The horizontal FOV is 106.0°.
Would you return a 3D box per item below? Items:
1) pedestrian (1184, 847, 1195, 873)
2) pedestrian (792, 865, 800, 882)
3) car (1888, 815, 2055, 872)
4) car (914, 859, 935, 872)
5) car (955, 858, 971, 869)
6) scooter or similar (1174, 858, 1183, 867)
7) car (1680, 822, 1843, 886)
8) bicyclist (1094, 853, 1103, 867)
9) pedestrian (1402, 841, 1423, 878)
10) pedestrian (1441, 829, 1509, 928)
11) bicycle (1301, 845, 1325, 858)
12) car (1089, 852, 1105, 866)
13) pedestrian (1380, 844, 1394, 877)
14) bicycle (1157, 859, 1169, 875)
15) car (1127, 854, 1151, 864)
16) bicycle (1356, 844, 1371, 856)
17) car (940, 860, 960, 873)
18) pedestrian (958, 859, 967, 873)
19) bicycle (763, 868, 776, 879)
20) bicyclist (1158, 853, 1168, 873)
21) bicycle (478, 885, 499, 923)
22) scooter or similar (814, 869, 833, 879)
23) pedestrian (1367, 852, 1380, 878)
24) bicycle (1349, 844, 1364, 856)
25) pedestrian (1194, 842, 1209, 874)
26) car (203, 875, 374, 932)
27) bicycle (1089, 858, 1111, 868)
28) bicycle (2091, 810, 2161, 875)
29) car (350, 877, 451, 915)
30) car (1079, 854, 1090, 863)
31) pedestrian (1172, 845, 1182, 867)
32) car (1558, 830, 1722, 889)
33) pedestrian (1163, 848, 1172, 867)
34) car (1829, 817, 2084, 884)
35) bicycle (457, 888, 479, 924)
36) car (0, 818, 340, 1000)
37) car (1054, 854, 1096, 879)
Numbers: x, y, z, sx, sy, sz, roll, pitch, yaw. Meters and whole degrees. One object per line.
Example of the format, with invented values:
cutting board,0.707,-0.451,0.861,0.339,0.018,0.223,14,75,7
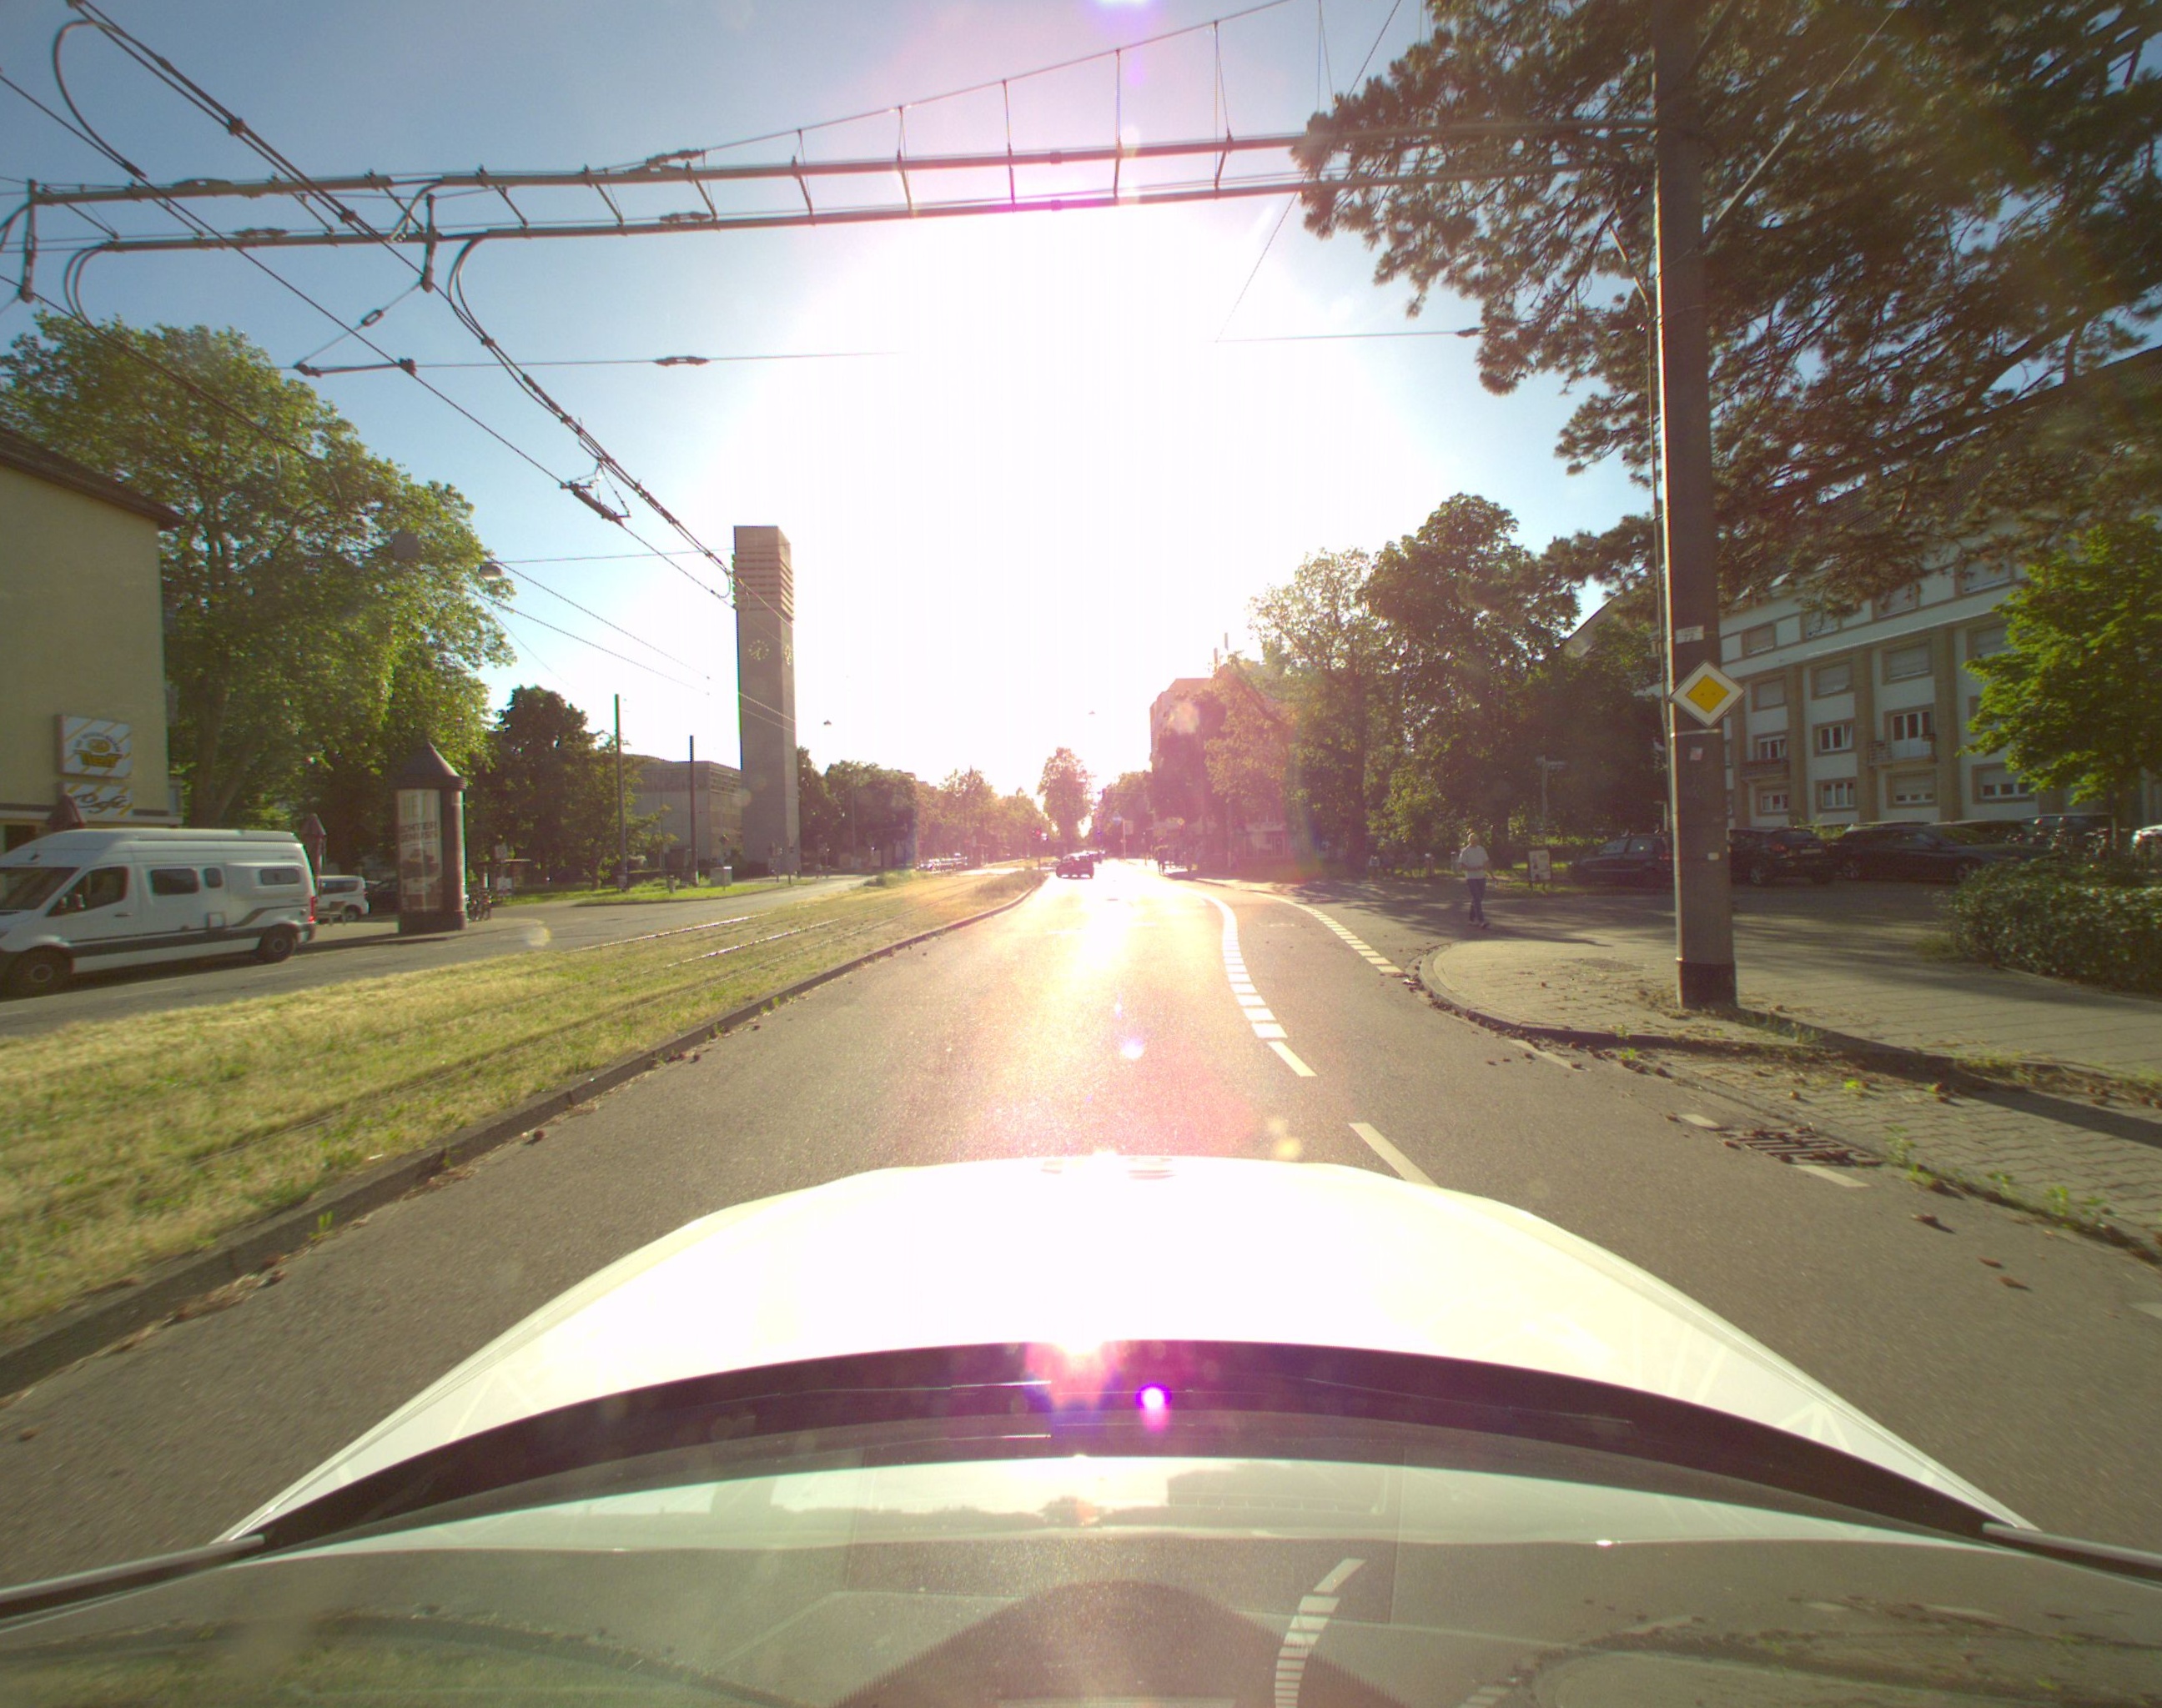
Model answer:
pedestrian,6.377,0.359,47.924,0.527,1.528,0.628,-4,0,5
pedestrian,-28.600,1.980,81.769,0.440,1.666,0.748,0,0,9
car,27.321,-0.322,25.065,3.336,1.370,1.576,-6,0,0
car,-19.110,1.379,99.592,1.801,1.533,4.360,-2,0,0
car,-16.110,1.243,111.557,1.561,1.402,3.914,0,0,0
scooter or similar,7.665,0.664,63.982,0.596,0.737,0.681,0,0,-1
car,18.742,-0.016,22.673,1.446,1.572,3.812,-3,0,3
bicyclist,1.978,0.634,90.940,0.762,1.471,0.902,-3,1,16
pedestrian,12.315,0.205,30.250,0.678,1.373,0.759,0,0,26
pedestrian,7.197,0.433,14.912,0.876,1.722,0.726,-2,0,5
bicycle,25.777,-0.278,90.532,2.463,1.399,0.608,0,0,-2
car,2.144,0.724,111.698,1.963,1.860,3.997,0,0,-2
pedestrian,11.492,0.236,30.555,0.399,1.226,0.765,0,0,26
bicycle,5.394,0.841,53.546,0.645,0.972,1.804,0,0,2
car,10.159,0.870,142.345,3.964,1.860,2.016,0,0,8
bicycle,24.229,-0.320,69.824,0.595,1.034,1.990,0,0,-1
car,-16.034,1.525,99.957,1.682,1.533,4.360,-2,0,0
pedestrian,-13.443,1.372,92.240,0.888,1.606,0.613,0,0,-1
bicycle,-32.633,2.052,85.316,0.488,1.045,1.686,0,0,7
bicyclist,5.388,0.568,53.538,0.635,1.323,0.803,0,0,2
bicycle,-20.549,1.708,28.259,0.522,1.252,2.068,0,-1,-34
scooter or similar,-26.128,2.005,82.594,1.738,0.899,0.560,-2,0,-17
pedestrian,11.029,0.415,30.722,0.399,0.934,0.627,0,2,26
bicycle,23.574,-0.314,69.786,0.595,1.034,2.006,0,0,-1
pedestrian,7.031,0.247,47.652,0.700,1.789,0.695,-4,1,5
car,-28.823,1.738,29.822,1.979,1.827,4.015,0,0,14
bicycle,2.120,0.957,90.915,2.235,0.987,0.792,-1,5,14
bicycle,24.981,-0.256,19.155,0.745,1.458,2.351,0,0,30
car,-32.256,2.004,38.641,3.955,1.601,1.758,-2,1,18
car,0.651,0.817,149.558,1.889,1.611,4.497,0,0,-2
pedestrian,7.581,0.169,64.564,0.725,1.682,0.534,0,0,12
car,15.976,0.152,23.535,1.637,1.494,3.793,-3,0,-12
pedestrian,6.890,0.265,64.550,0.642,1.522,0.497,0,0,12
car,21.772,-0.085,20.537,1.633,1.440,4.232,-3,0,-6
bicycle,-20.994,1.756,27.908,0.522,1.184,2.067,0,-2,-34
car,-18.046,0.869,15.538,2.025,2.868,6.228,-1,0,0
car,-0.424,0.753,52.013,1.699,1.508,3.677,0,0,-17
